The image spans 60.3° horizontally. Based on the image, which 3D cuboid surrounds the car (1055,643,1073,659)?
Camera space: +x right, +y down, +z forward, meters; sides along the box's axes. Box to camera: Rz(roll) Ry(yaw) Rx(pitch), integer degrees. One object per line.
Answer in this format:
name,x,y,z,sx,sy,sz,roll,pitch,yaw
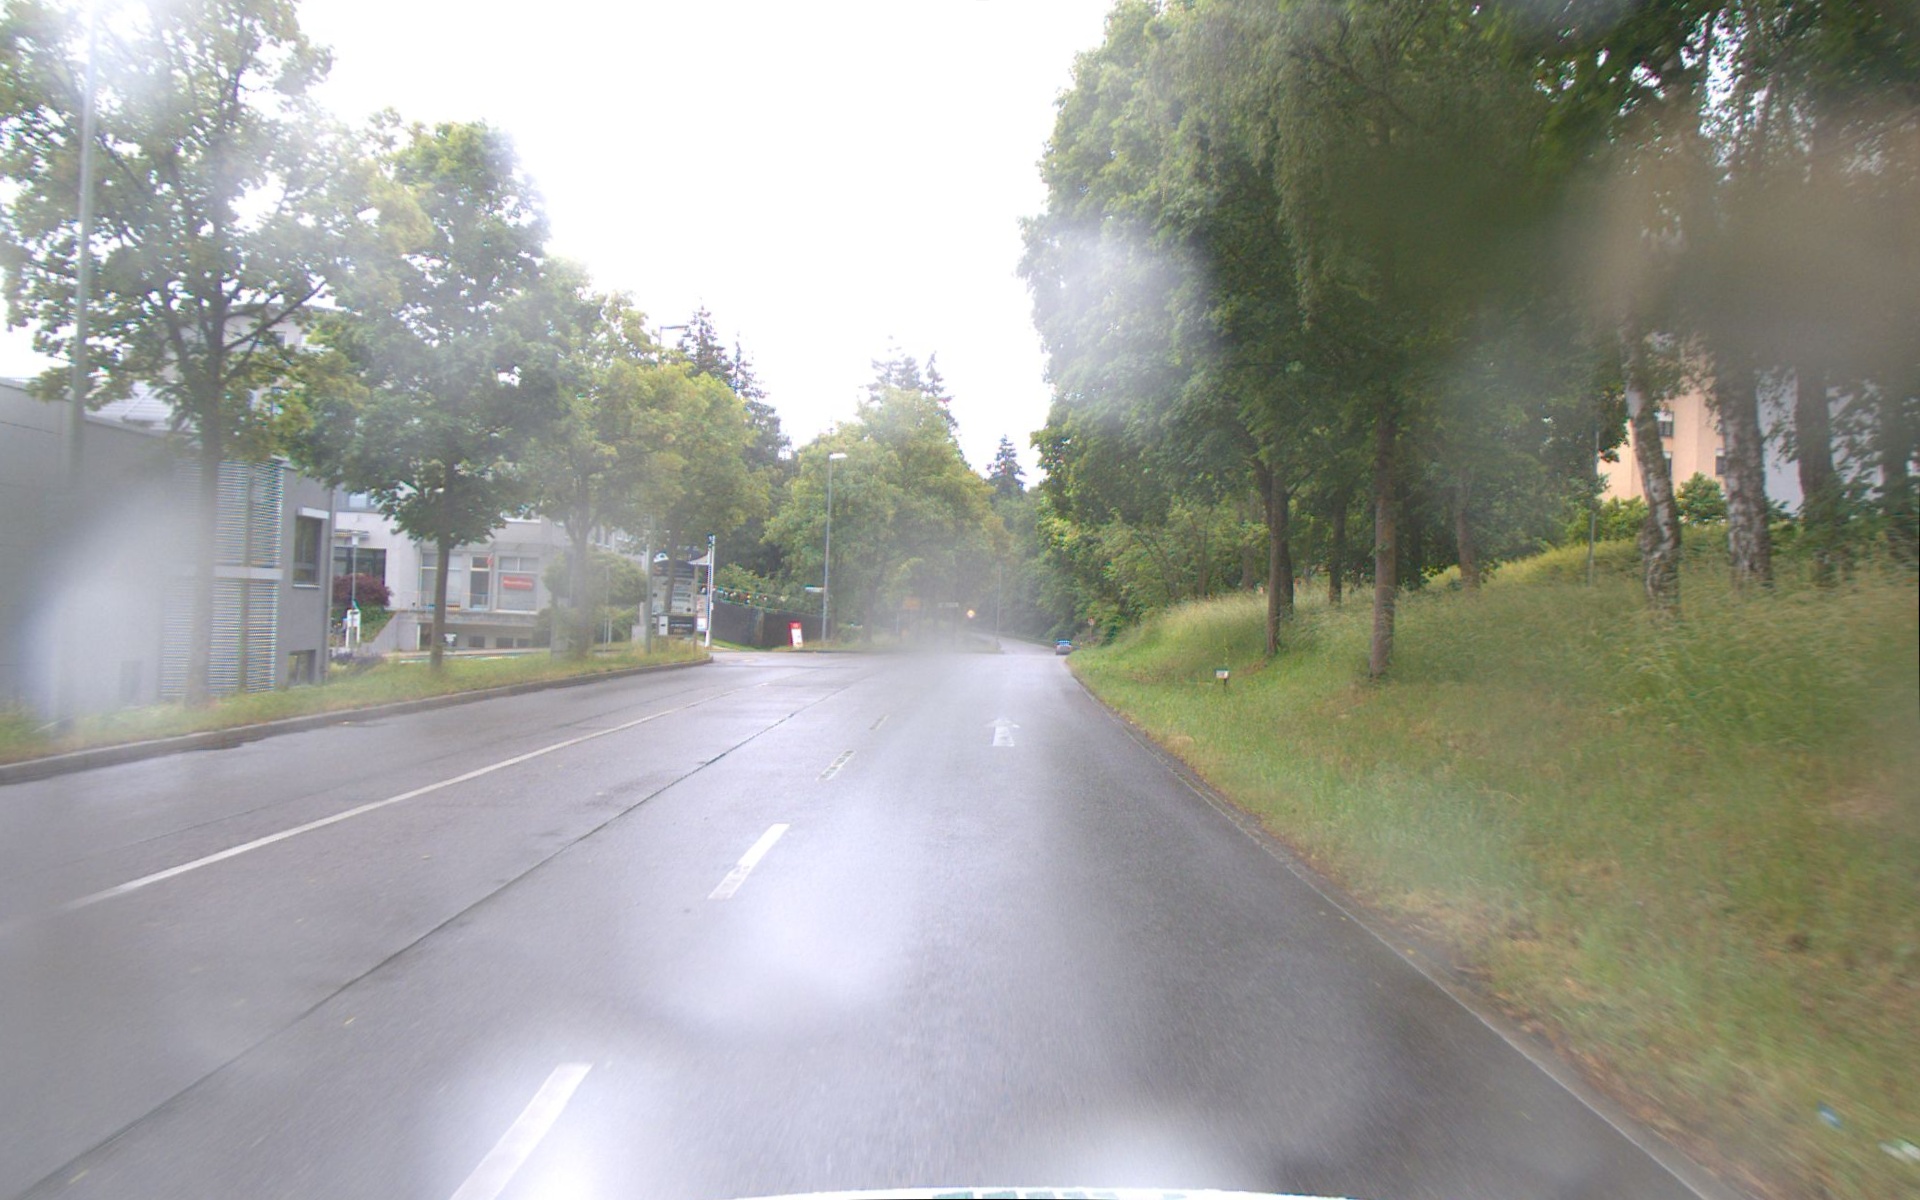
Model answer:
car,10.311,5.056,164.679,1.700,1.537,4.001,0,-1,3
